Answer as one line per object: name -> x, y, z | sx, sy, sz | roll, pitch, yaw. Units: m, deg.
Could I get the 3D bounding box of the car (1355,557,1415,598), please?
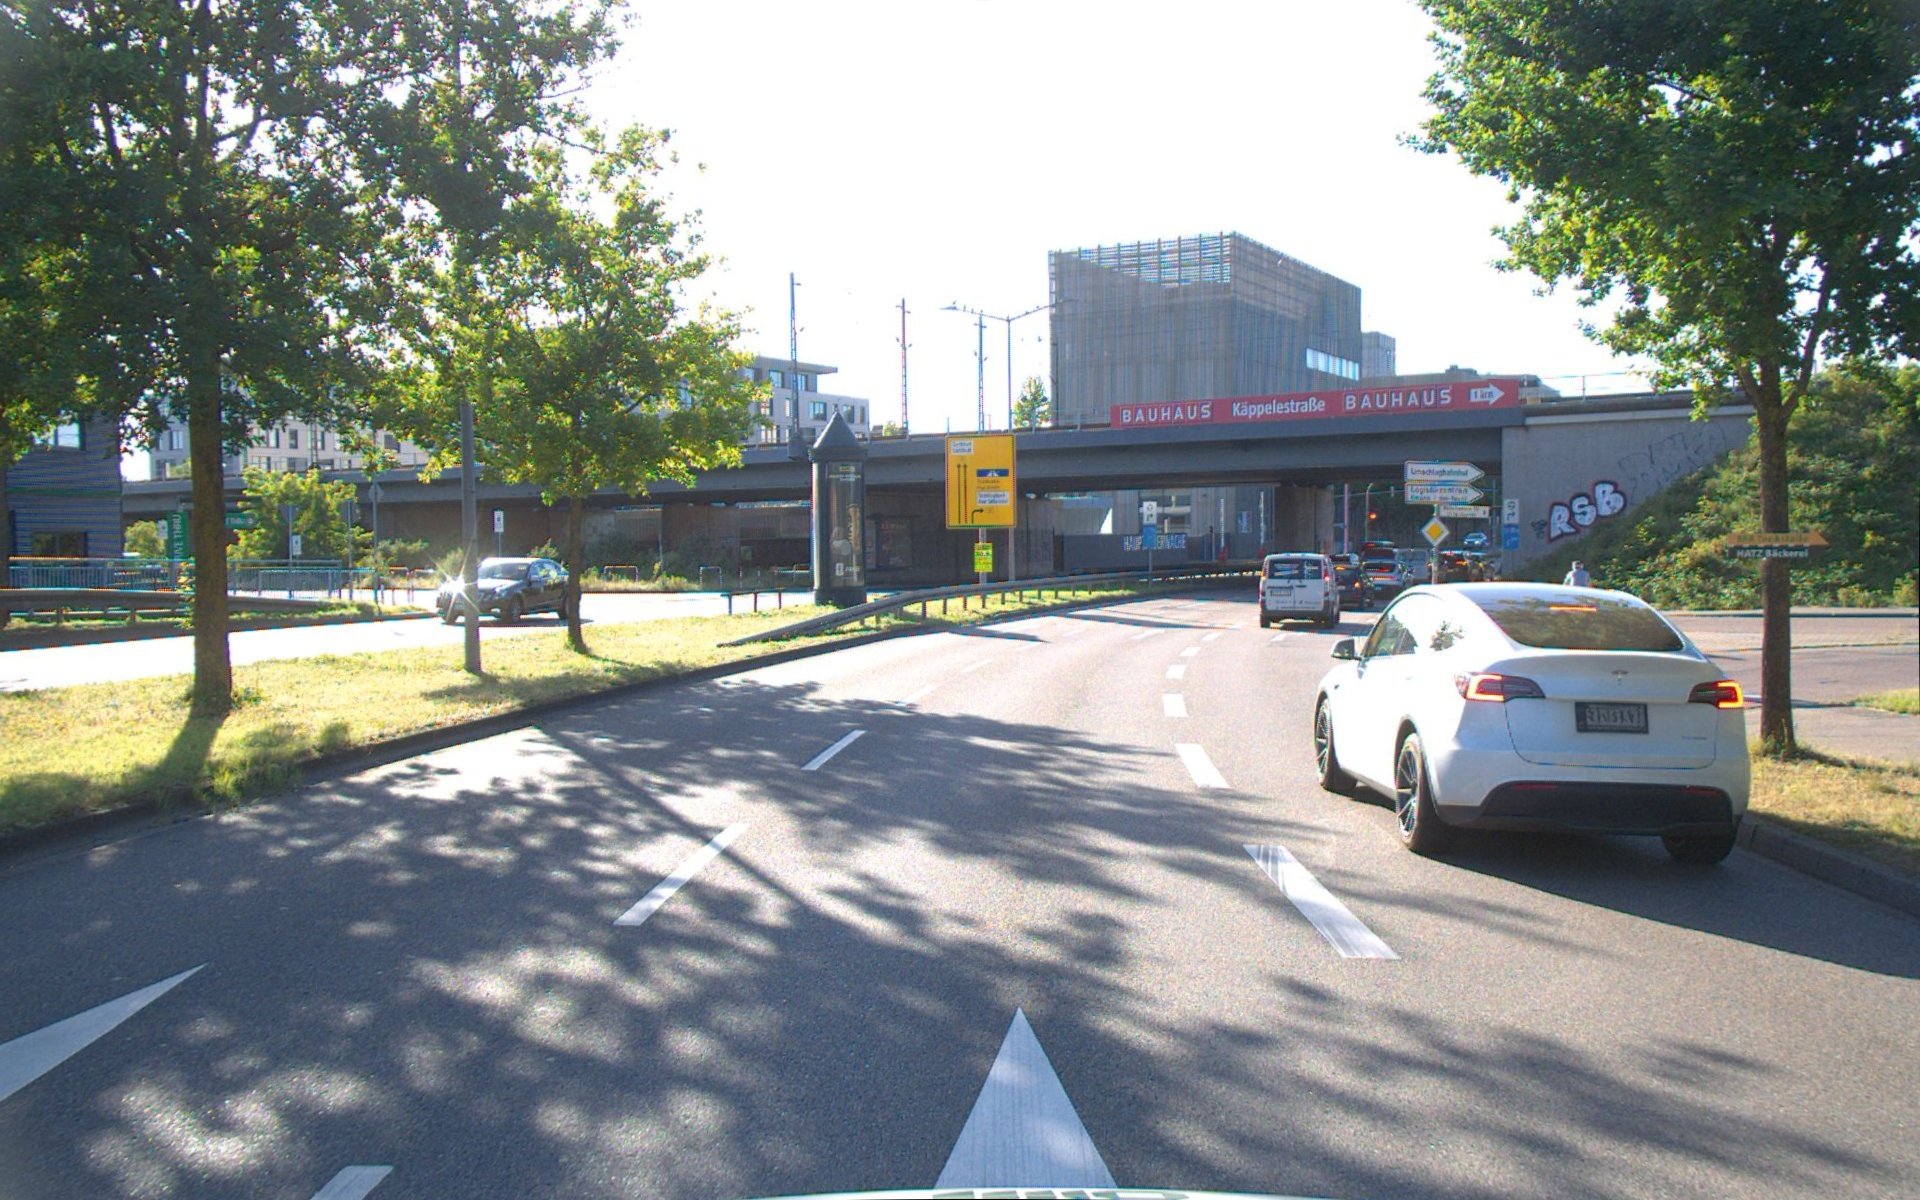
car -> 16.543, -0.900, 64.208 | 1.727, 1.501, 4.289 | 0, 2, 22

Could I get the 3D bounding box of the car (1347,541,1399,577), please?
car -> 23.506, -2.331, 94.028 | 1.831, 1.980, 4.590 | 1, 2, 28

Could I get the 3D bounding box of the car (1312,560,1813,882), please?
car -> 3.744, 0.668, 11.207 | 1.874, 1.669, 4.411 | 2, 0, 2

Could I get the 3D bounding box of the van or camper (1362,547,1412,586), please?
van or camper -> 21.022, -1.675, 81.293 | 1.719, 1.845, 3.957 | 1, 2, 25

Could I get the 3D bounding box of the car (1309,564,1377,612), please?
car -> 12.776, -0.427, 55.068 | 1.572, 1.459, 3.678 | 1, 3, 23

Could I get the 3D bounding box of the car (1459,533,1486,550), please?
car -> 51.915, -5.938, 167.534 | 1.749, 1.674, 4.195 | 1, 2, 29

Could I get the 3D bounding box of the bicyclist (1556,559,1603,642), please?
bicyclist -> 12.778, 0.001, 34.129 | 0.730, 1.647, 0.913 | -2, 0, 12

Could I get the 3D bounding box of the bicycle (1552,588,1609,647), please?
bicycle -> 12.792, 0.338, 34.155 | 0.727, 1.131, 2.454 | -2, 1, 12

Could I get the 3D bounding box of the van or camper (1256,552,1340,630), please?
van or camper -> 9.041, -0.294, 43.969 | 1.917, 1.916, 4.884 | 0, 2, 15

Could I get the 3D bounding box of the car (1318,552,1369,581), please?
car -> 20.161, -1.792, 86.854 | 1.675, 1.478, 3.737 | 1, 2, 28

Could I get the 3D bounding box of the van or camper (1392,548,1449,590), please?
van or camper -> 20.723, -1.430, 74.305 | 1.789, 1.822, 4.543 | 1, 2, 24

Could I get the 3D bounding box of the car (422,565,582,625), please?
car -> -10.827, -0.155, 39.466 | 1.761, 1.333, 4.620 | 1, 1, 12

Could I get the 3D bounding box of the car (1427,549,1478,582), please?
car -> 24.001, -1.715, 80.520 | 1.675, 1.549, 3.737 | 1, 2, 28
